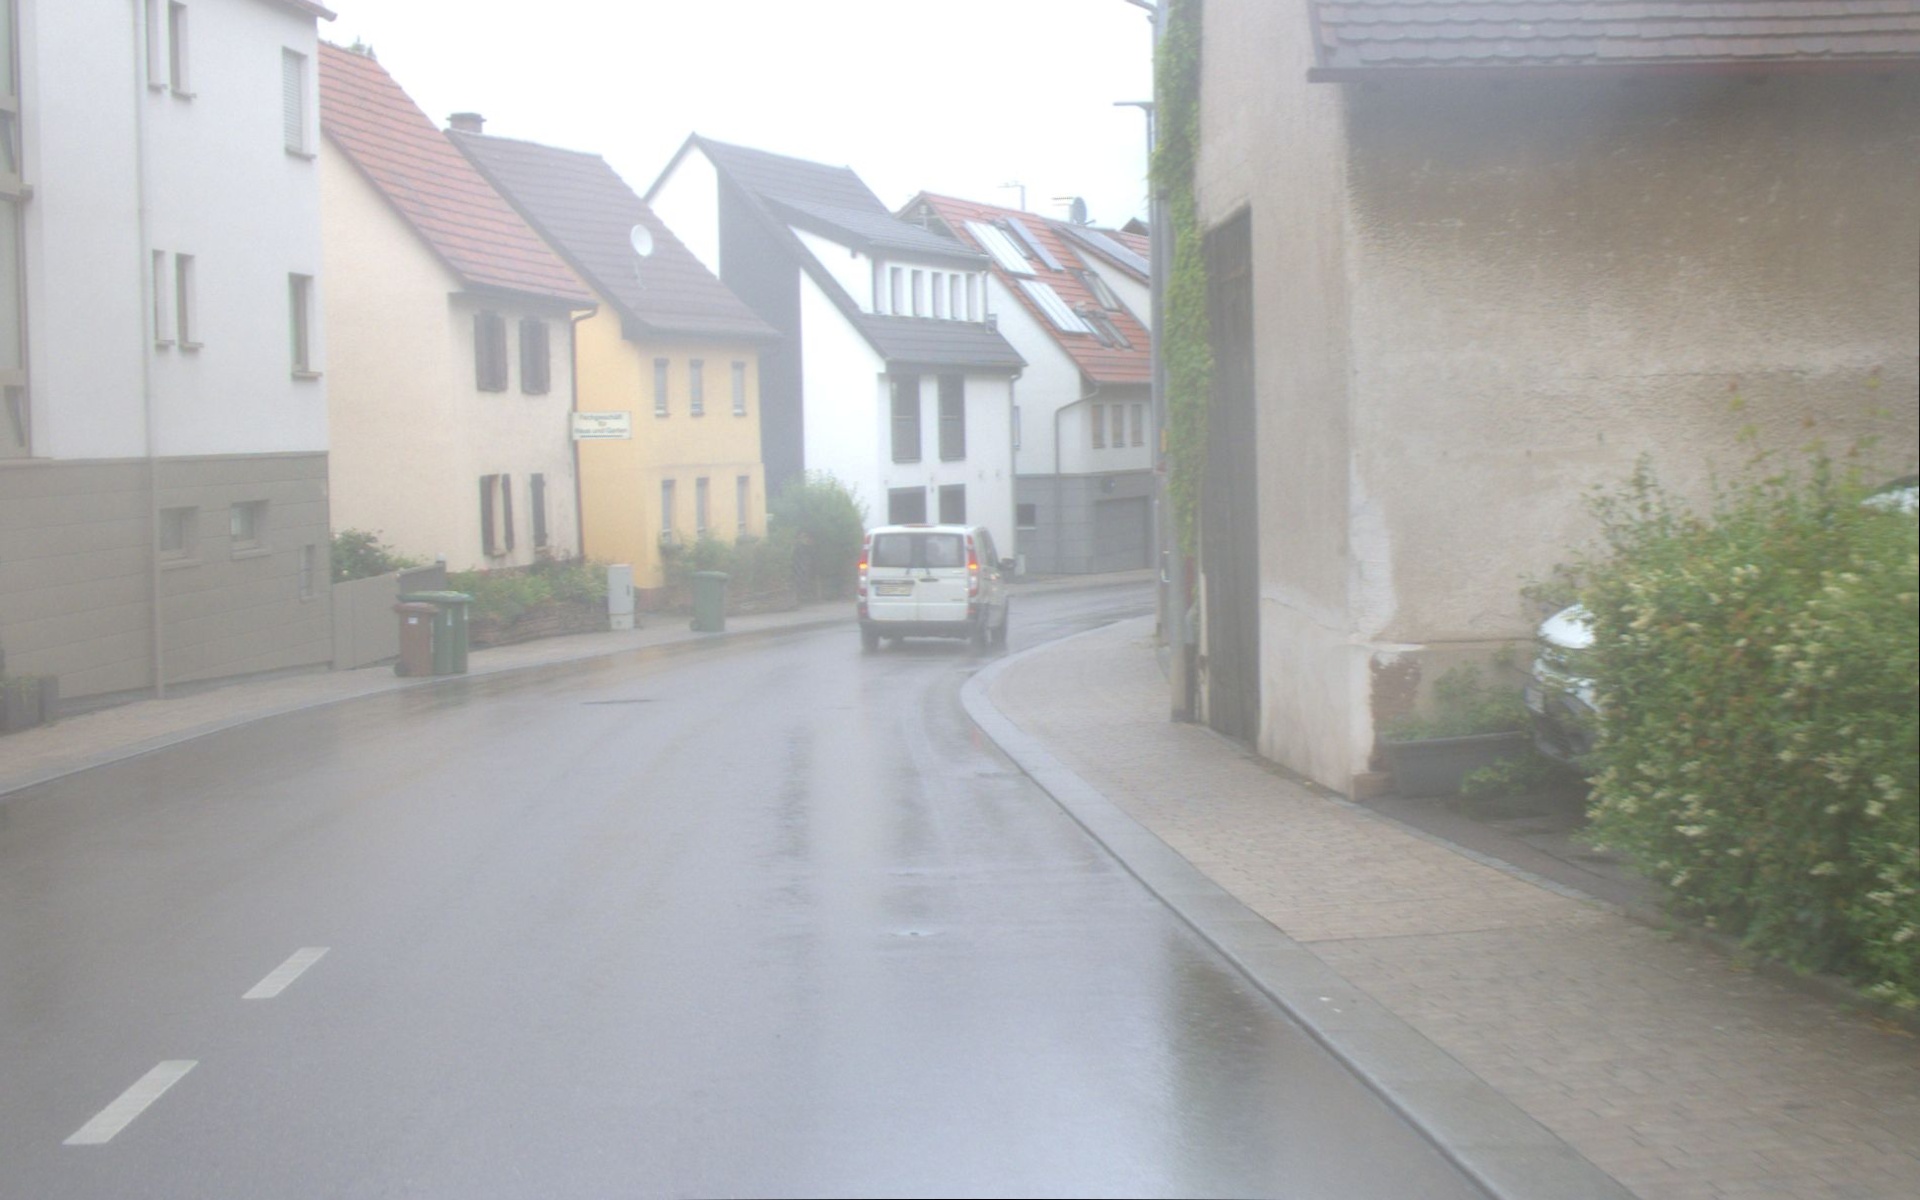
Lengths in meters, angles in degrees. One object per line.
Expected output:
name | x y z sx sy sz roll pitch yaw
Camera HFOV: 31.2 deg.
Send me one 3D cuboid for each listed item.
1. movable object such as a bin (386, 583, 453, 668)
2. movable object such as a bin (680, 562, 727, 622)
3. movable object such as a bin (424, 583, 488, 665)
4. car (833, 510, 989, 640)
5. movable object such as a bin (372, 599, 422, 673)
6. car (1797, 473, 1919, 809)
movable object such as a bin | -6.921 0.319 44.030 0.681 1.063 0.694 0 1 6
movable object such as a bin | -4.589 -0.147 61.548 0.660 1.052 0.763 2 1 8
movable object such as a bin | -6.532 0.302 44.554 0.681 1.042 0.661 0 1 6
car | -0.698 -0.395 52.223 2.195 1.845 4.304 -1 1 1
movable object such as a bin | -7.084 0.451 43.260 0.506 0.919 0.579 0 1 4
car | 6.714 0.083 17.803 4.217 1.643 1.903 -3 1 -1
